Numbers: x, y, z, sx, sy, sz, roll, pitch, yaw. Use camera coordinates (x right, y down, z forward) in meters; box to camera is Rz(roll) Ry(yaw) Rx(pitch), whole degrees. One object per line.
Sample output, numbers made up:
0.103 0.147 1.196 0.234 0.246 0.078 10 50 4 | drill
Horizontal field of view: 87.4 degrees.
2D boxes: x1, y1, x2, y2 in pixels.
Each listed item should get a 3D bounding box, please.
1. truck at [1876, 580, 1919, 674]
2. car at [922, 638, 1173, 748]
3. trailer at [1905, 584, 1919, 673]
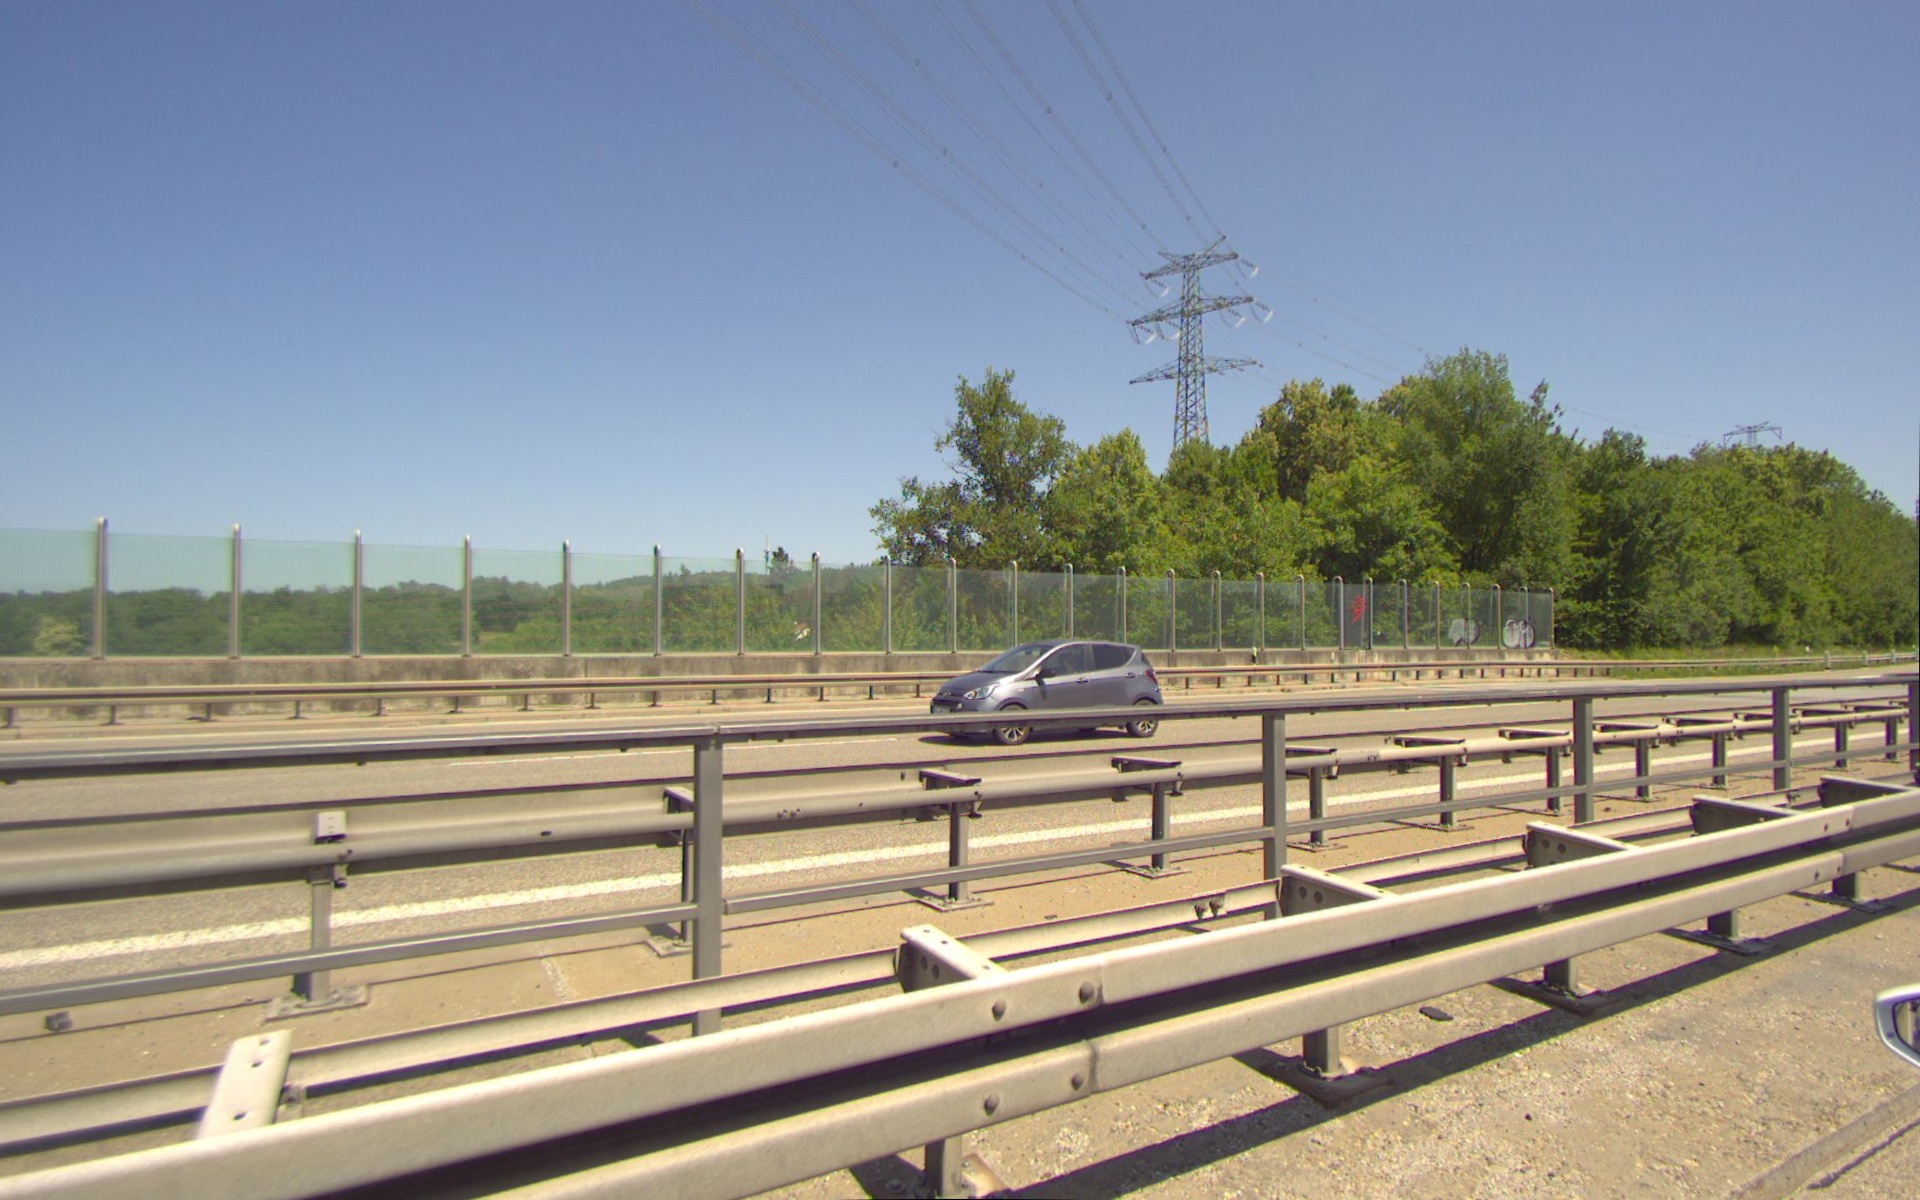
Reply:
46.369 1.298 46.951 4.803 4.283 3.987 2 -3 -31 | truck
1.348 1.343 15.197 3.501 1.481 1.645 2 -2 -30 | car
53.297 1.572 51.059 13.876 4.291 3.970 2 -2 -30 | trailer
